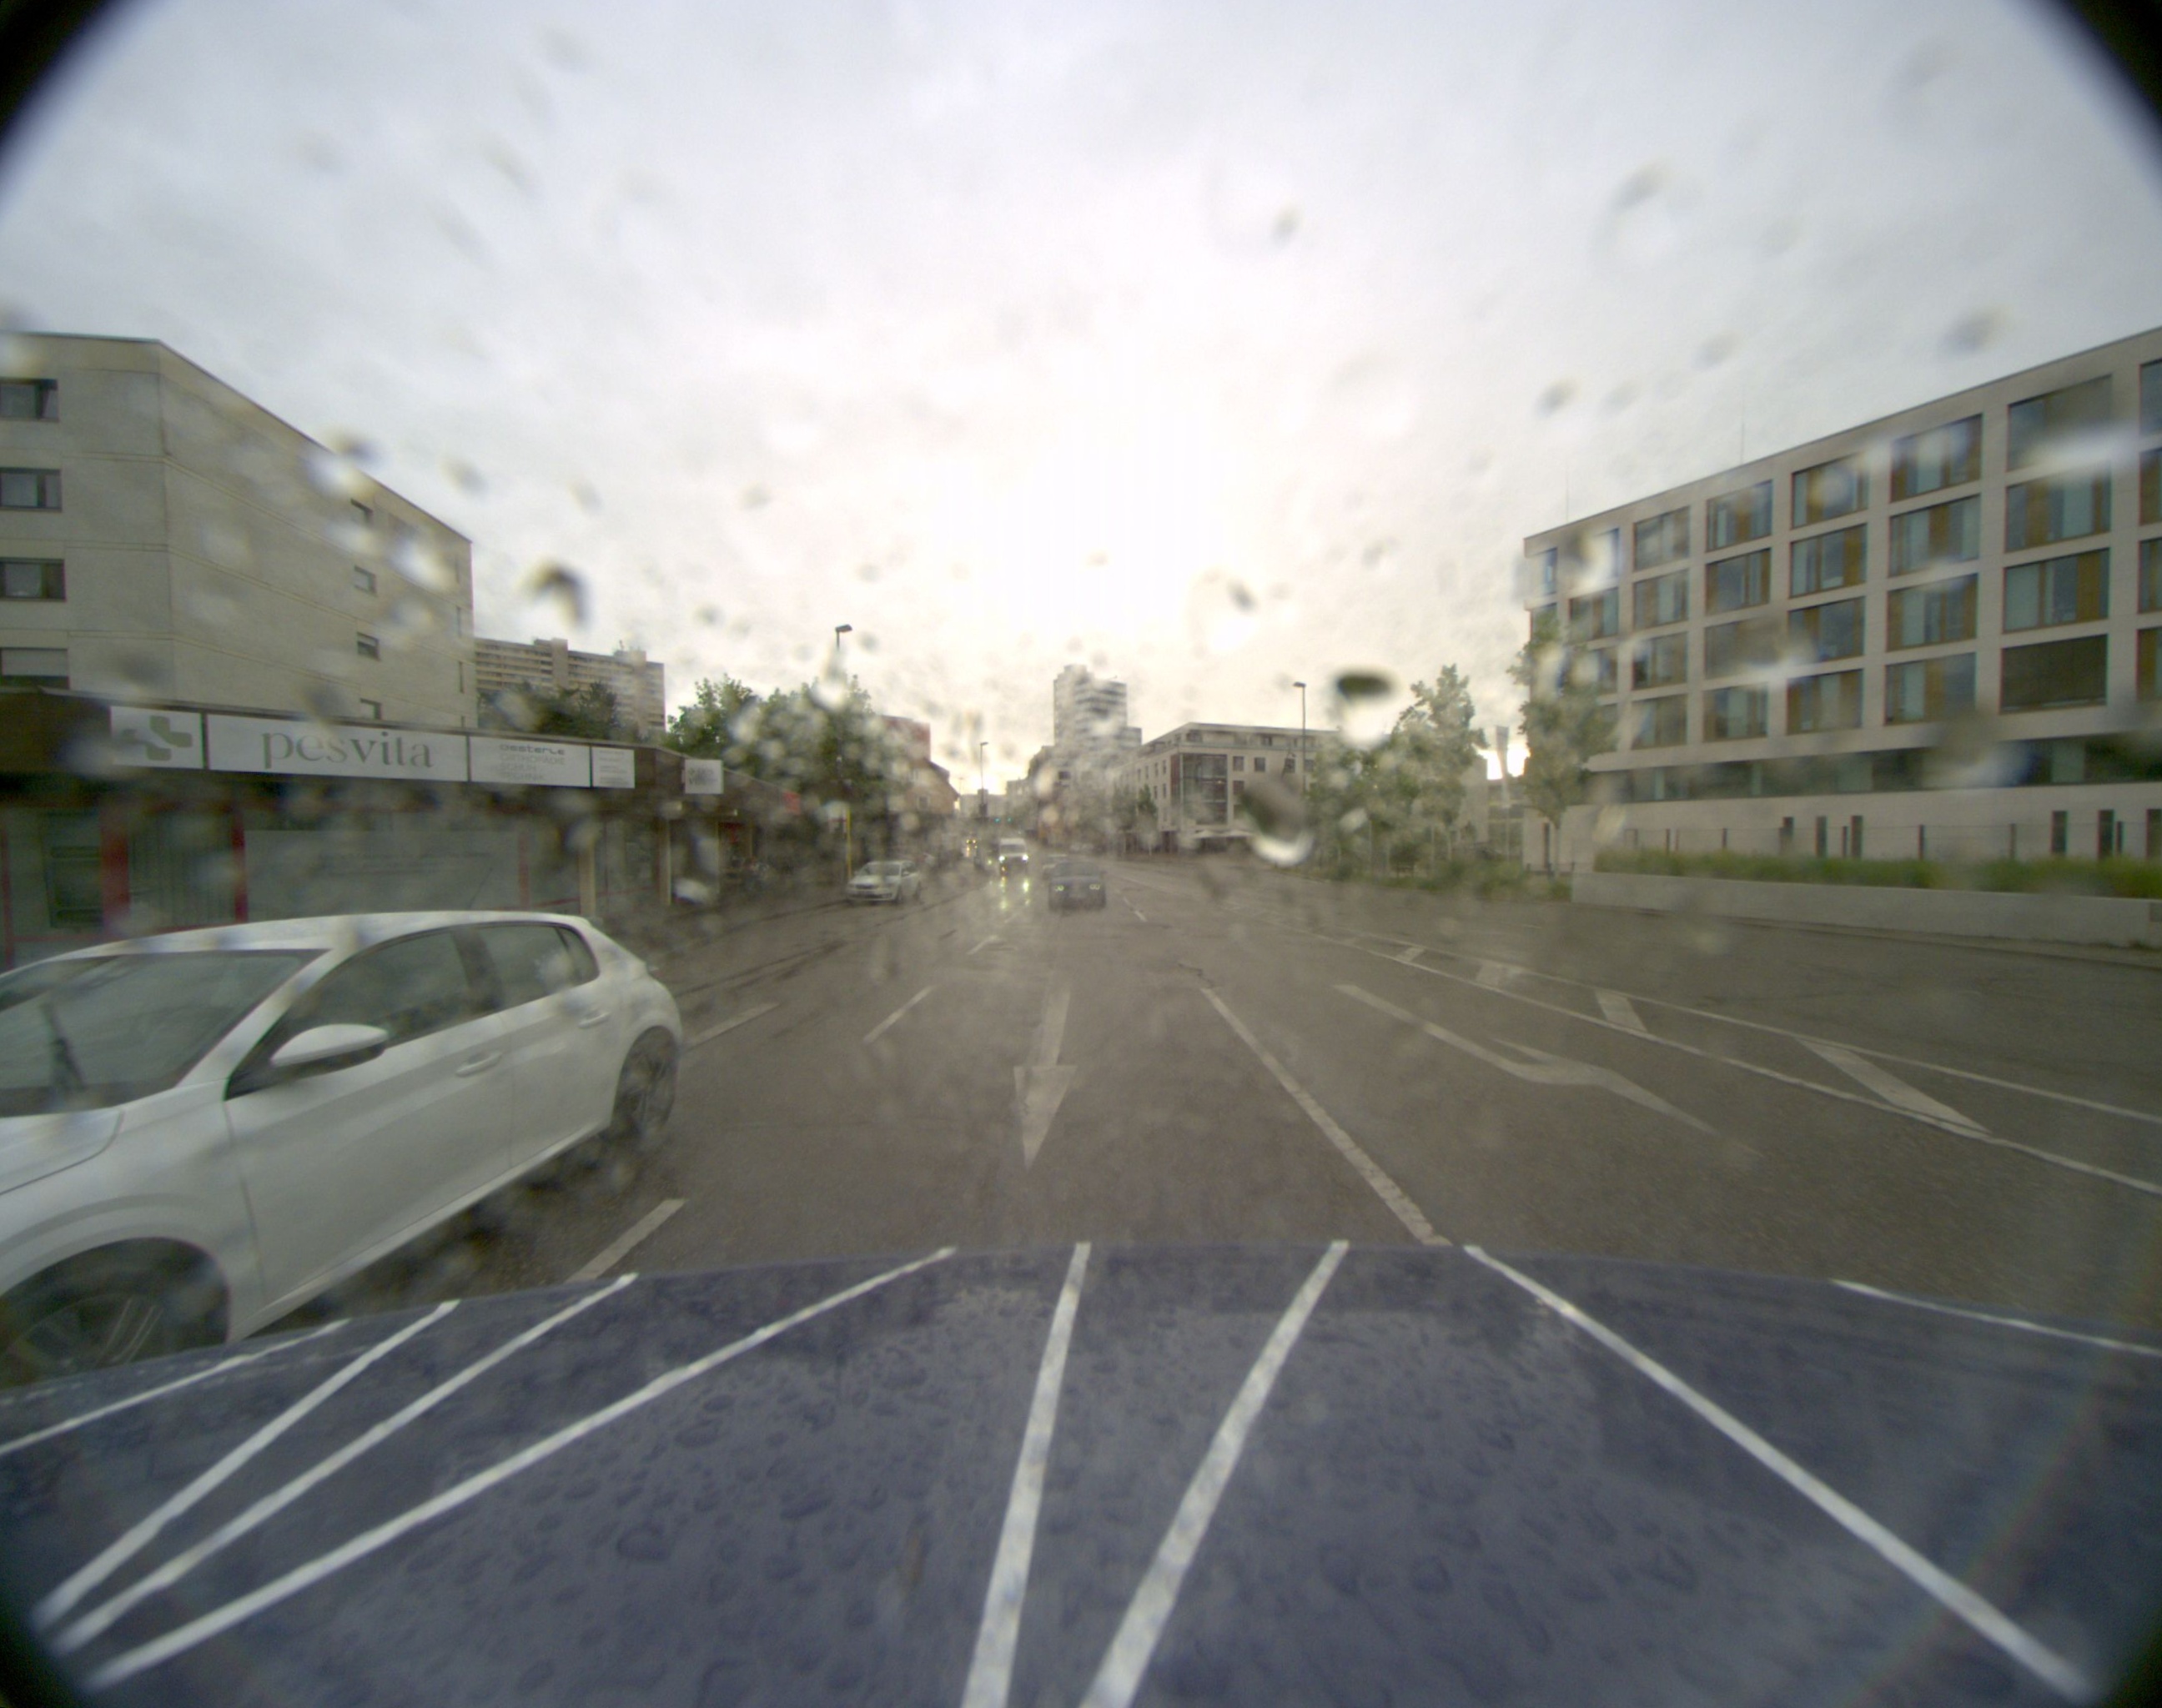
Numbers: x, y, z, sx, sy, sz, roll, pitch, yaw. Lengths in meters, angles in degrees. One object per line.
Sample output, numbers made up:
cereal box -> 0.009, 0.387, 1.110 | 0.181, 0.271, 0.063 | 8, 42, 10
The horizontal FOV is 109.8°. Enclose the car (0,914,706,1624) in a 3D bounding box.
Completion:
car -> -3.382, 1.130, 3.008 | 1.666, 1.407, 4.115 | -2, 0, 1

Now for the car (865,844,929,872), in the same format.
car -> -12.318, 0.258, 51.088 | 4.000, 1.769, 1.882 | -1, 0, -10

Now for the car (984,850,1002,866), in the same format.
car -> -9.853, 0.435, 85.406 | 1.721, 1.739, 3.834 | -2, 0, -4

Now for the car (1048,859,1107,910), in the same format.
car -> -0.147, 0.895, 24.079 | 1.693, 1.380, 3.999 | -2, 0, -1

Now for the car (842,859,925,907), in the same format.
car -> -6.904, 0.951, 26.971 | 1.788, 1.481, 4.000 | -2, 0, 1

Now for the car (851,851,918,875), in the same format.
car -> -12.443, 0.530, 48.360 | 4.000, 1.419, 1.882 | -1, 0, -10

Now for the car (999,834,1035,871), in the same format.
car -> -4.632, -0.157, 55.973 | 2.197, 2.503, 6.121 | -2, 1, -2

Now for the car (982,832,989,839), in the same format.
car -> -26.304, -5.079, 208.462 | 1.666, 1.624, 3.801 | -2, 0, -11

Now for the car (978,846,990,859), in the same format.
car -> -15.119, -0.233, 117.960 | 1.722, 1.988, 3.833 | -2, 0, -8

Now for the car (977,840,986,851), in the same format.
car -> -18.646, -1.612, 142.387 | 1.722, 1.988, 3.833 | -2, 0, -8

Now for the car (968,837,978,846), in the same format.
car -> -24.843, -2.811, 174.377 | 1.999, 2.002, 3.997 | -2, 1, -6

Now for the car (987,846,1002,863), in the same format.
car -> -10.925, 0.032, 95.994 | 1.721, 1.988, 3.834 | -2, 0, -4

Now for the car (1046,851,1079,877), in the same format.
car -> -1.073, 0.566, 45.976 | 1.788, 1.338, 4.161 | -2, 1, 1

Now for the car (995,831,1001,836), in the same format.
car -> -26.150, -6.467, 240.234 | 1.666, 1.624, 3.802 | -2, 0, -8

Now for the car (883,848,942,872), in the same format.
car -> -12.058, 0.435, 54.540 | 4.000, 1.584, 1.883 | -1, -1, -10

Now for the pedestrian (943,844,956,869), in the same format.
pedestrian -> -9.318, 0.185, 53.836 | 0.750, 1.771, 0.752 | -2, 1, -2
